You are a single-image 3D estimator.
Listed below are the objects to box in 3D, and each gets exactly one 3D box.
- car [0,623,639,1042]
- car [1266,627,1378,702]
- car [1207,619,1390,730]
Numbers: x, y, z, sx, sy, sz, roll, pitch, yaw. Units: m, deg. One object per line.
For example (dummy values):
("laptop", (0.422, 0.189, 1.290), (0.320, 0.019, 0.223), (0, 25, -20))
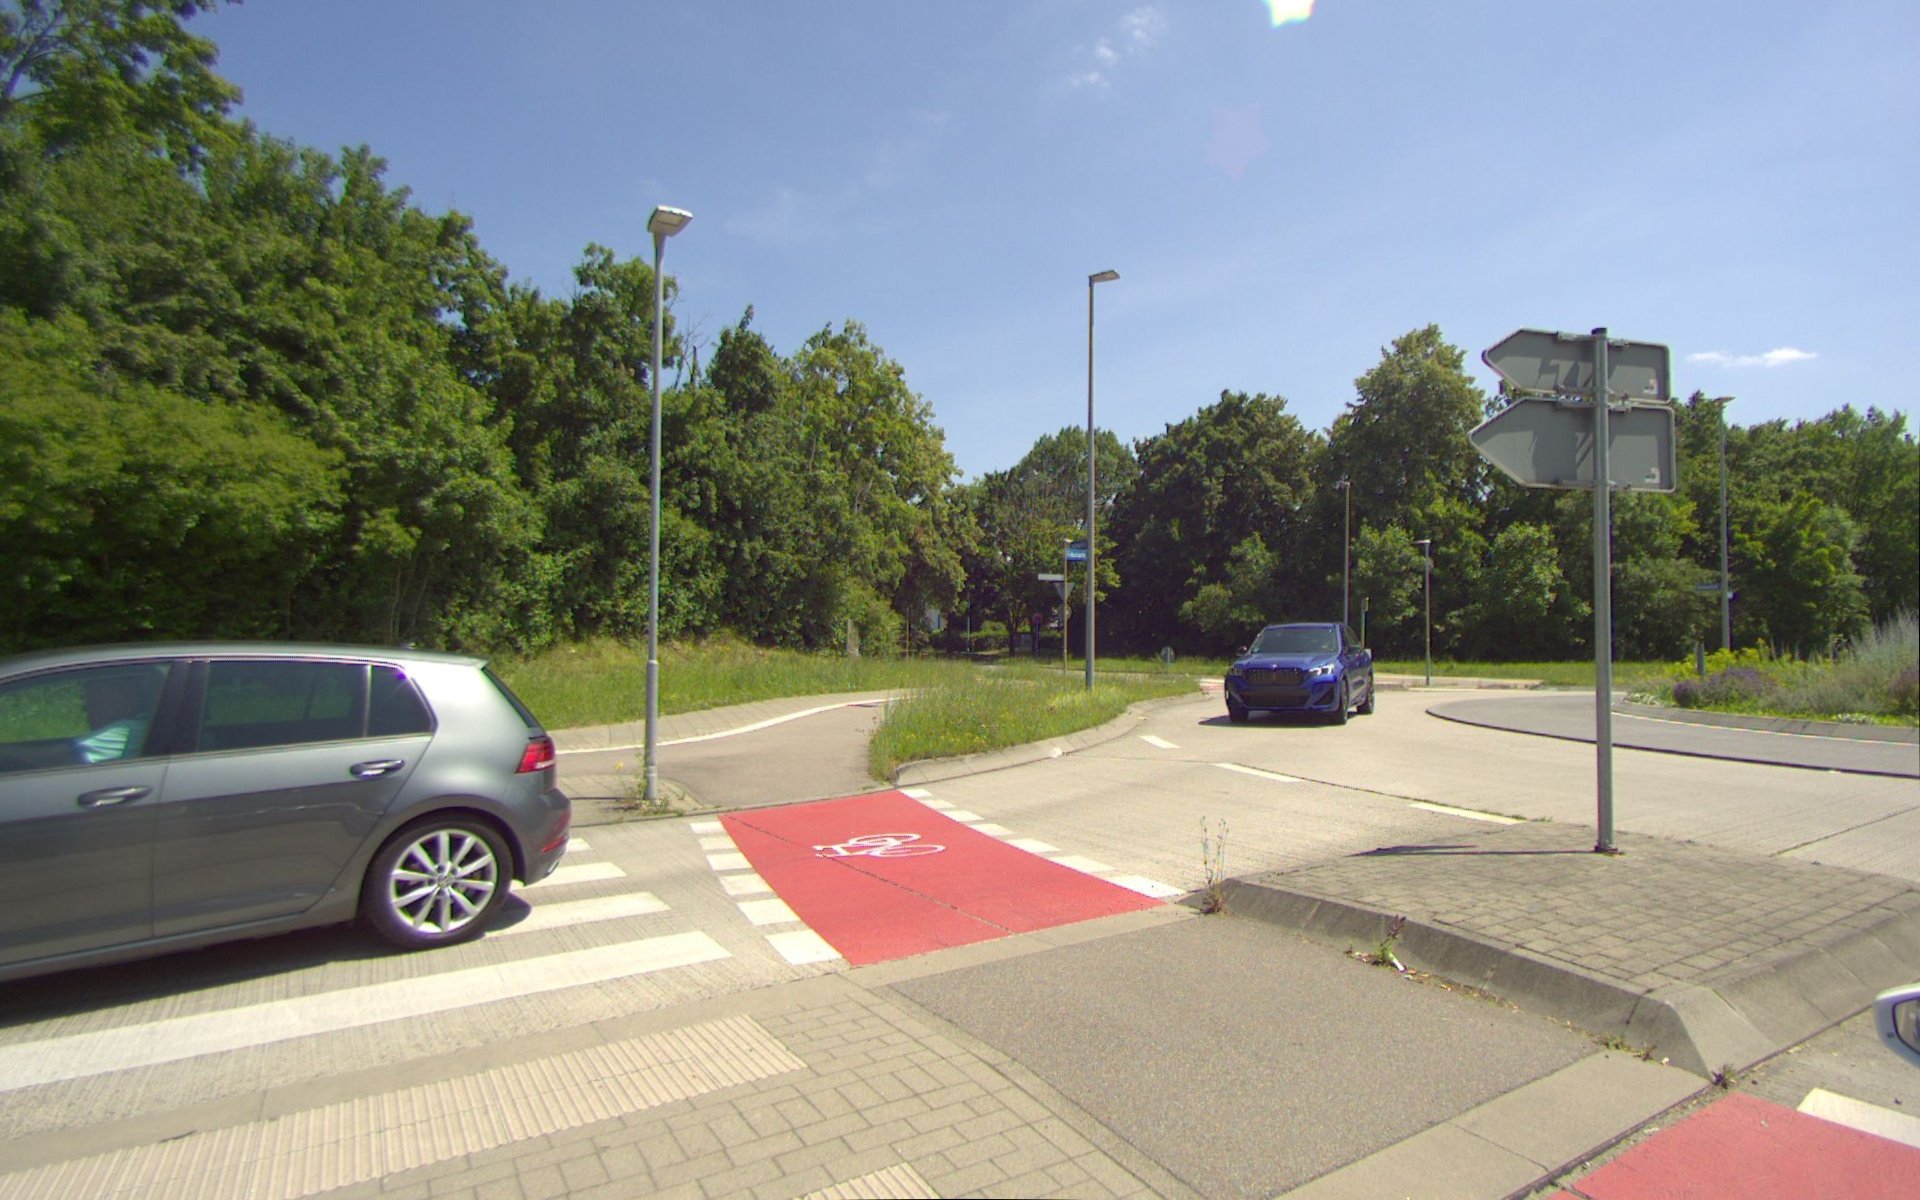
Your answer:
("car", (-3.895, 0.882, 4.538), (4.257, 1.498, 1.976), (2, -4, -42))
("car", (8.905, 1.528, 25.095), (1.959, 1.661, 4.761), (0, -2, 12))
("car", (5.859, 1.164, 17.059), (1.966, 1.617, 4.312), (-2, -2, 32))
